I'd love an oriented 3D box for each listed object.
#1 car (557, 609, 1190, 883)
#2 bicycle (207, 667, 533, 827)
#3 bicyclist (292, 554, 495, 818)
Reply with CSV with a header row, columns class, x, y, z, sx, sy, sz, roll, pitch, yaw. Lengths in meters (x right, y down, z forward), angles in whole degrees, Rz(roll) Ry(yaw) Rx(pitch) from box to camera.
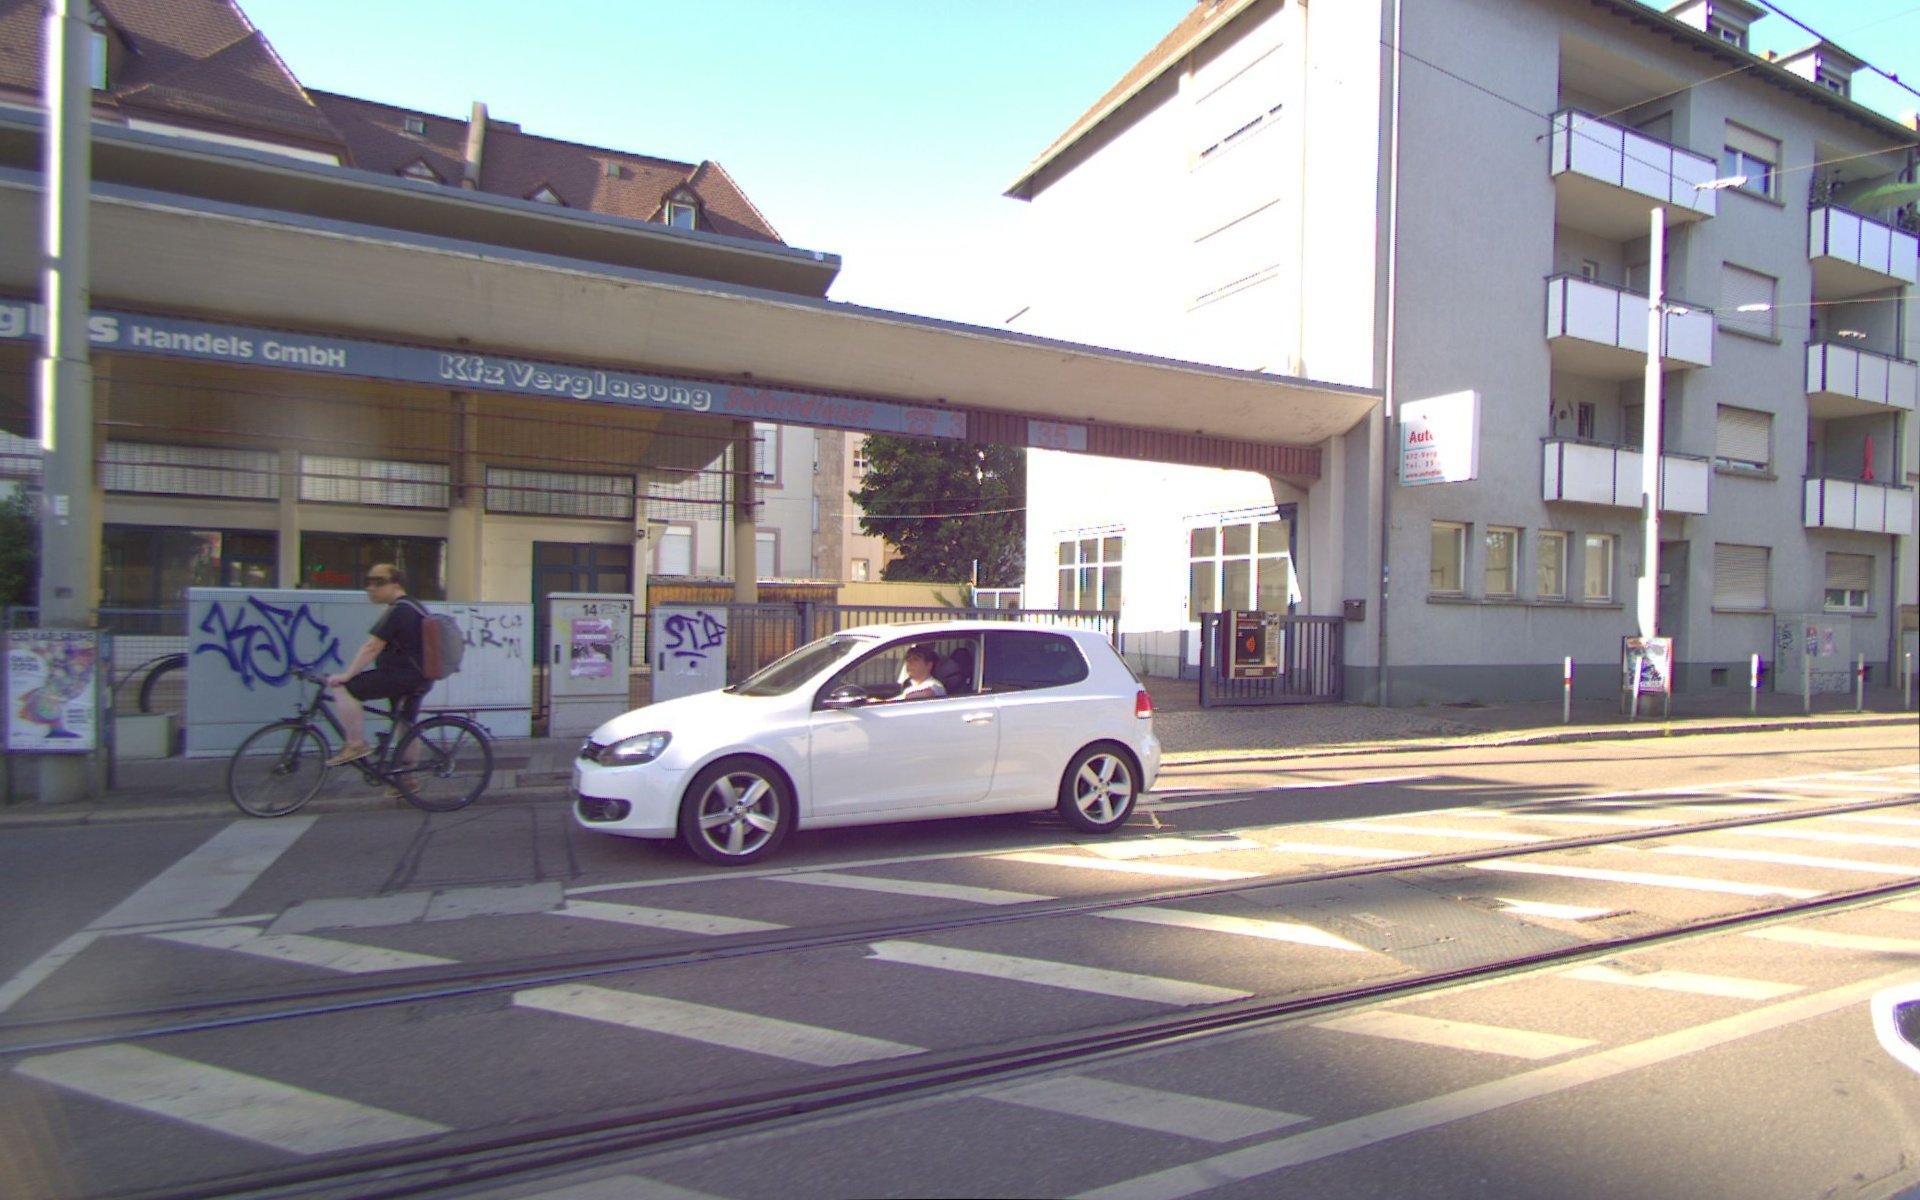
class,x,y,z,sx,sy,sz,roll,pitch,yaw
car,-0.577,0.854,7.144,4.134,1.477,1.785,1,-2,-26
bicycle,-4.340,1.052,7.587,2.020,1.031,0.723,1,-1,-25
bicyclist,-4.247,0.601,7.582,1.239,1.811,0.904,1,0,-30
